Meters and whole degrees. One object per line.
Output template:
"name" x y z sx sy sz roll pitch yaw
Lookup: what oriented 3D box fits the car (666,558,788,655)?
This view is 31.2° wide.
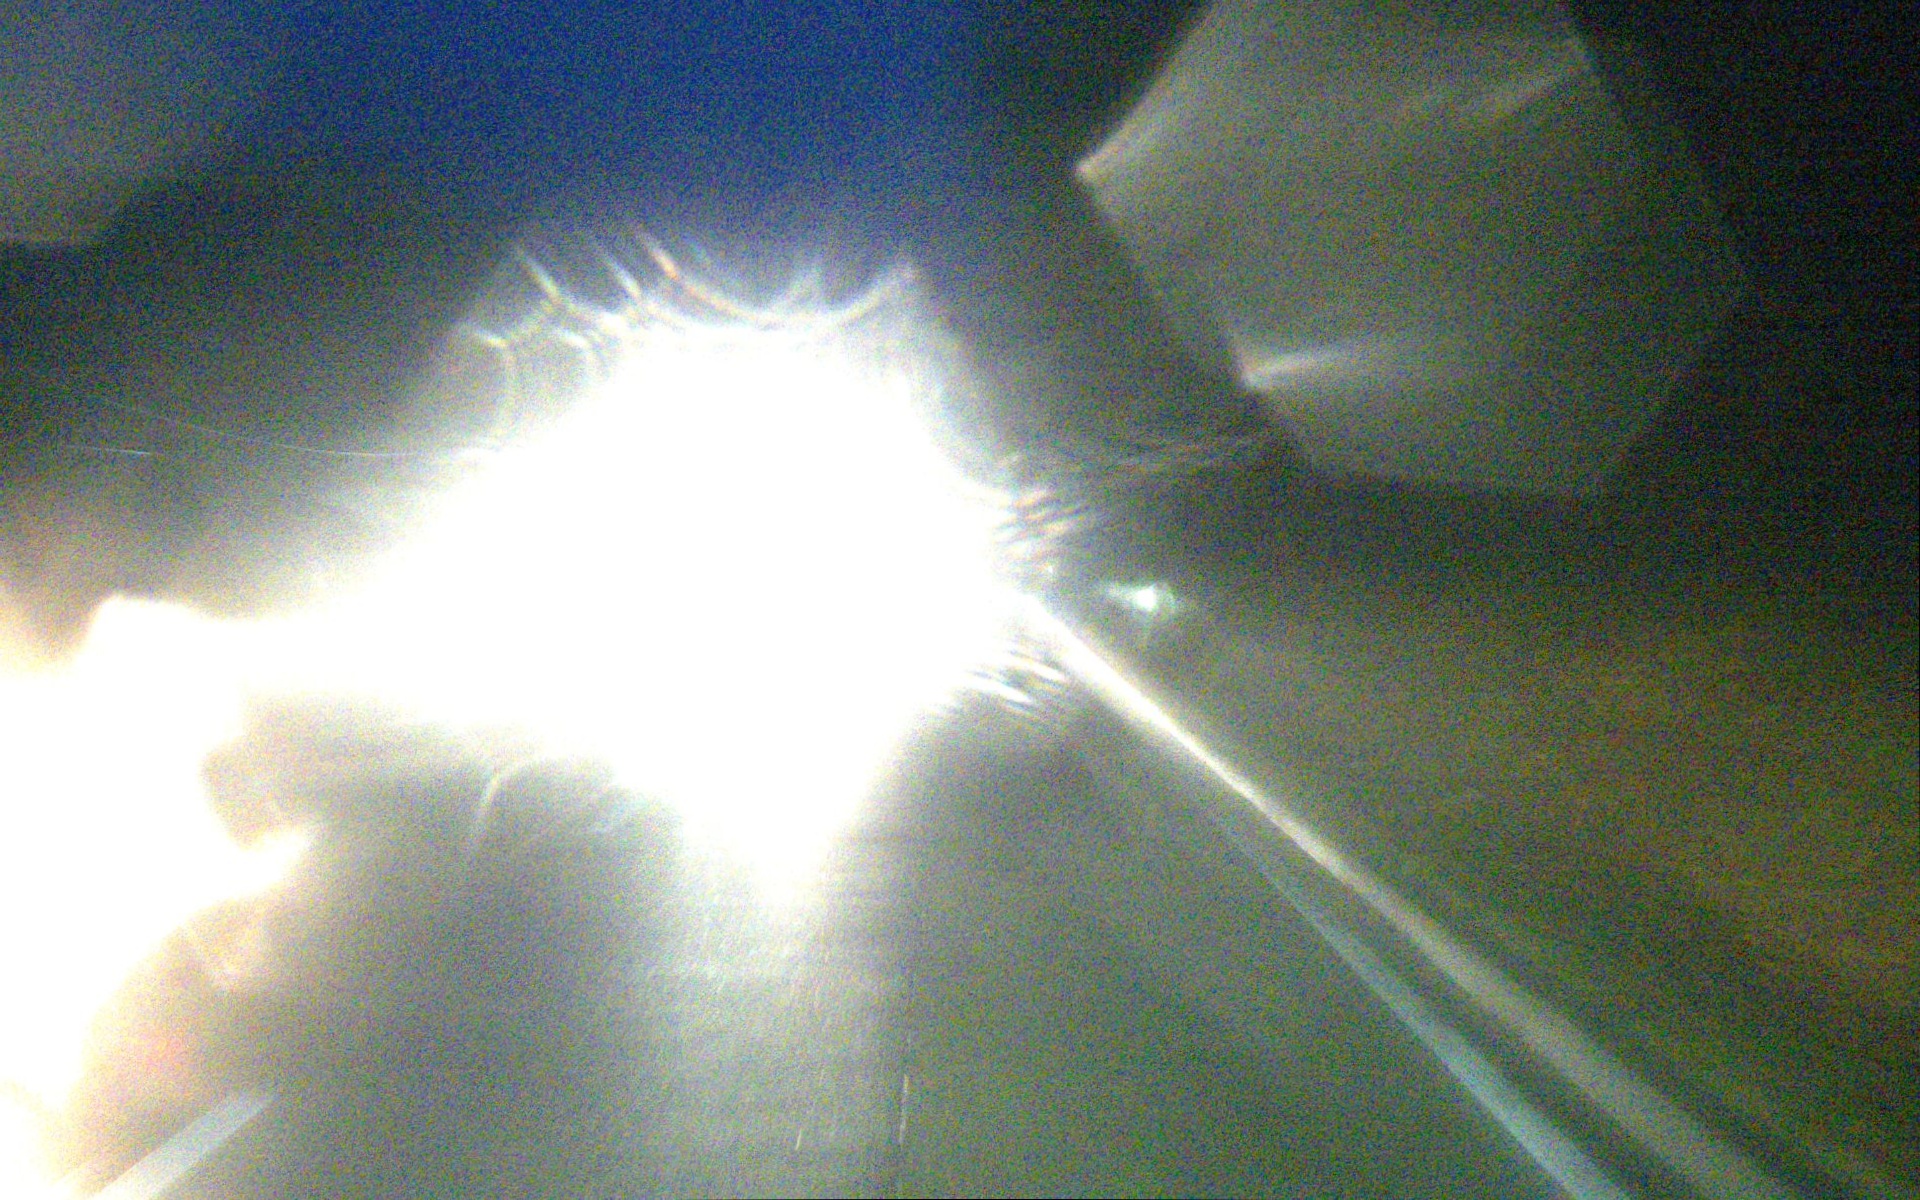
"car" -3.951 0.084 58.782 1.828 1.451 3.793 -2 2 -1

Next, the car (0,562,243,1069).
"car" -3.762 0.645 12.235 1.716 1.465 3.708 -1 2 -2
